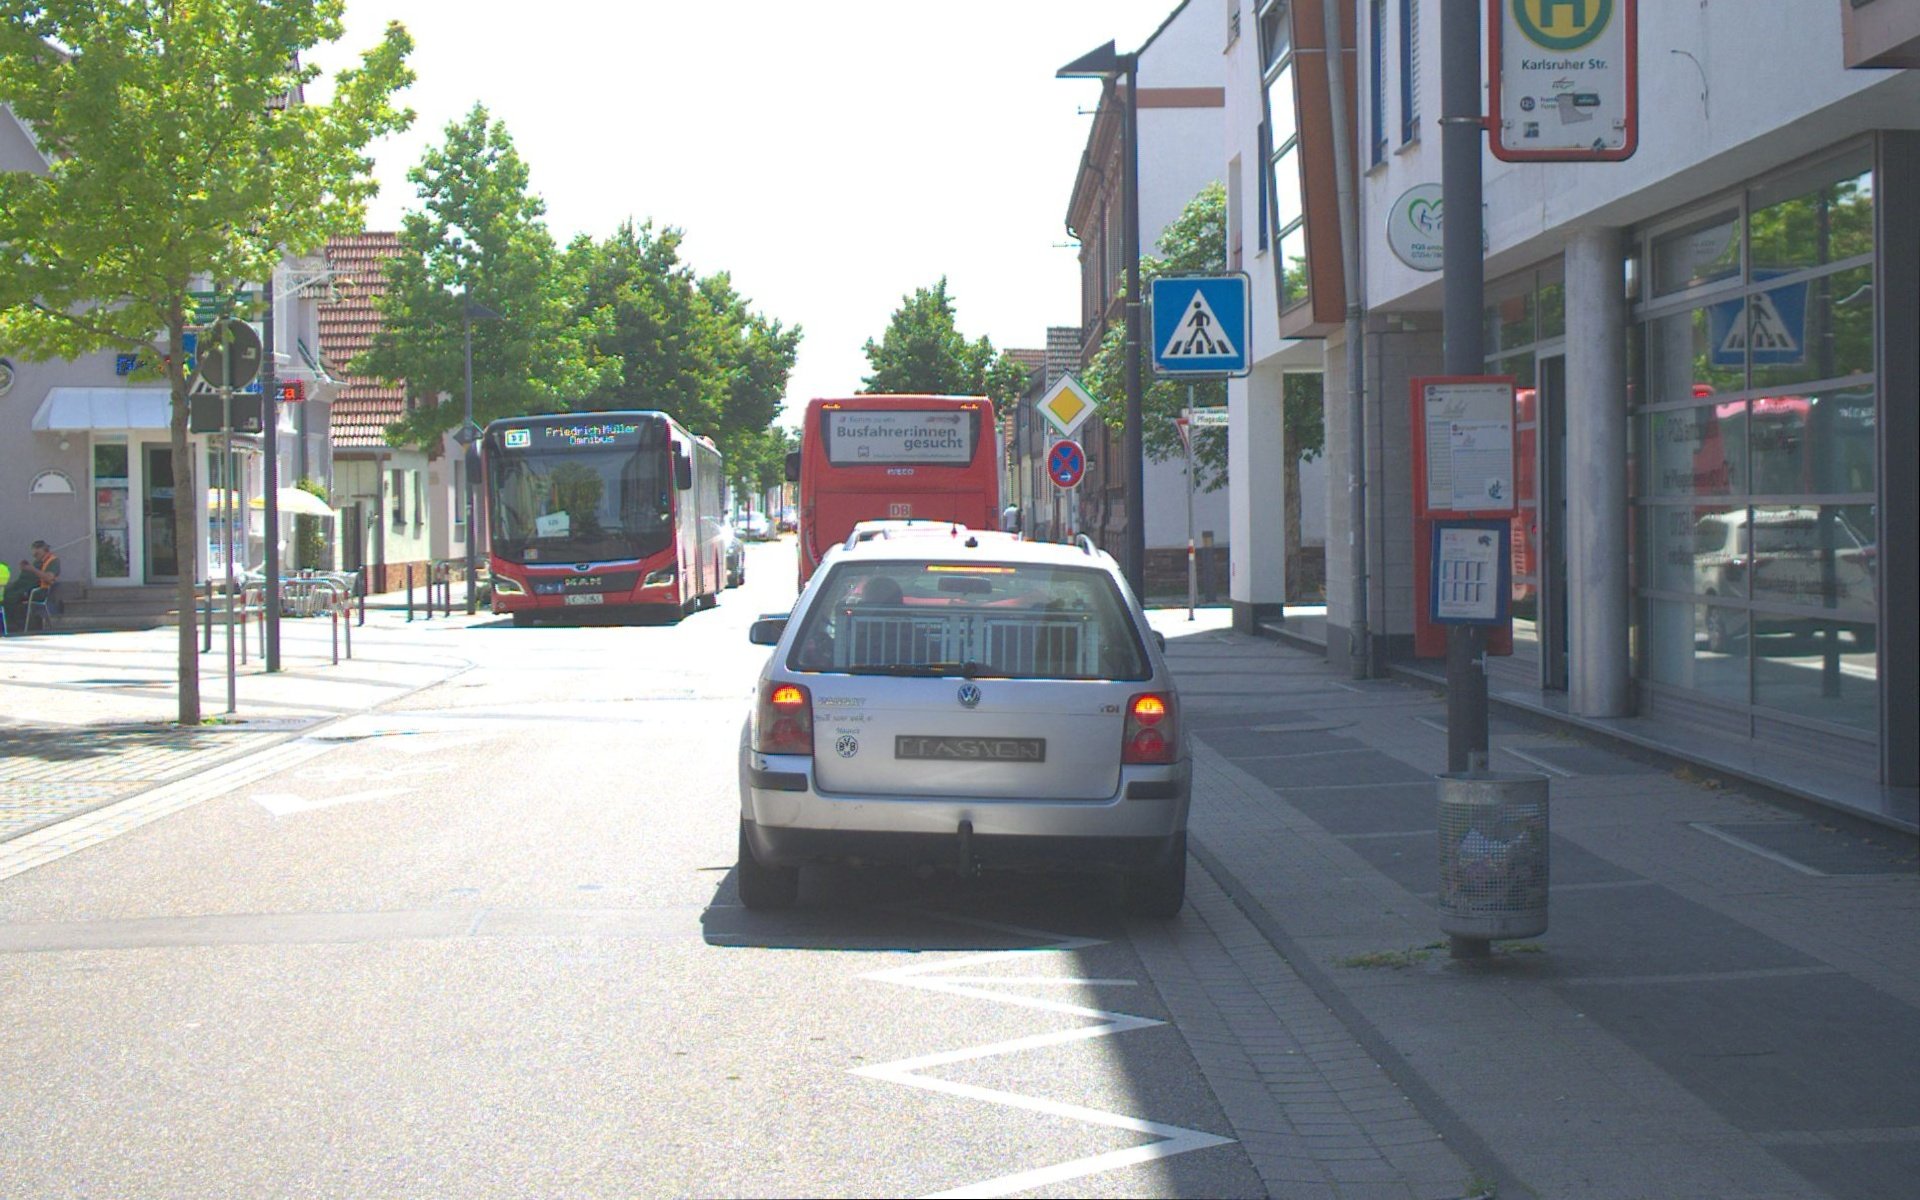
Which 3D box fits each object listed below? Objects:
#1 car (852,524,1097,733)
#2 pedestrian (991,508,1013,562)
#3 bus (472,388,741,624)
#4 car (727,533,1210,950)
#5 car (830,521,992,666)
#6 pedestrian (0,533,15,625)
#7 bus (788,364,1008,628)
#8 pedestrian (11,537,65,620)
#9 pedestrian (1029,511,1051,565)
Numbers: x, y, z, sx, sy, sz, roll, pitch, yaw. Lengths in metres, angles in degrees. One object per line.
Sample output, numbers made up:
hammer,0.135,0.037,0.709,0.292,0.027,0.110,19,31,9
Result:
car,0.056,0.159,25.453,1.677,1.425,3.680,0,1,-1
pedestrian,1.309,-2.033,107.419,0.606,1.661,0.789,0,1,-3
bus,-5.300,-1.460,55.008,2.668,3.113,17.808,-1,1,-1
car,-0.011,0.471,14.096,1.677,1.425,3.680,2,1,-1
car,-0.502,-0.102,36.189,1.593,1.425,3.680,1,1,0
pedestrian,-13.751,-0.312,48.210,0.634,1.284,0.789,1,1,-44
bus,-1.062,-1.414,49.303,2.740,3.287,12.707,0,1,-3
pedestrian,-13.205,-0.310,49.265,0.622,1.175,0.697,0,1,-5
pedestrian,2.460,-1.906,106.223,0.606,1.661,0.789,0,1,-3
